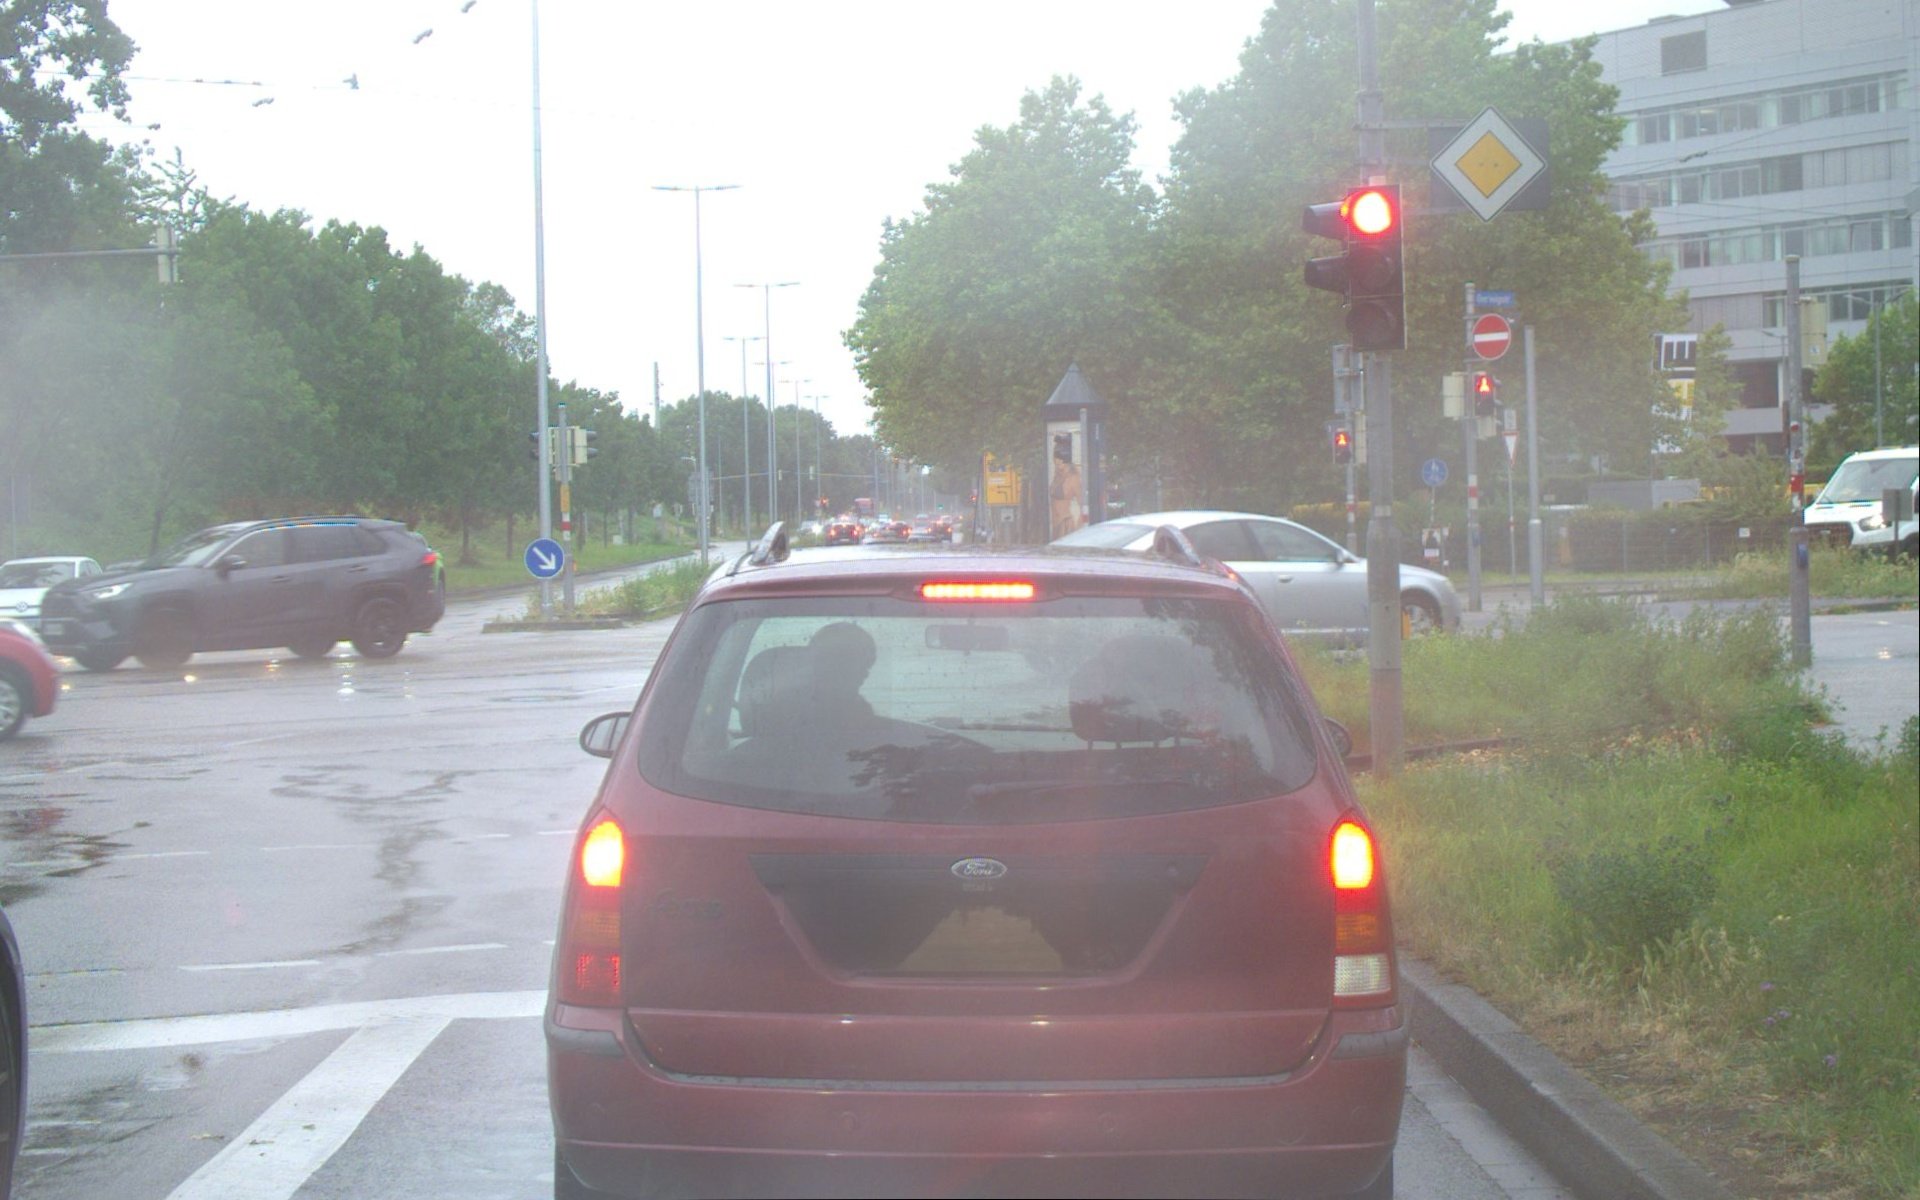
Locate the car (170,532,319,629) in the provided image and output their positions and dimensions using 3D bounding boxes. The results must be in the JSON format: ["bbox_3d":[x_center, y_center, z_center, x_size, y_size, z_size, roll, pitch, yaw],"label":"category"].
[{"bbox_3d":[-11.637,-0.343,56.153,1.638,1.468,3.965,-2,1,-1],"label":"car"}]

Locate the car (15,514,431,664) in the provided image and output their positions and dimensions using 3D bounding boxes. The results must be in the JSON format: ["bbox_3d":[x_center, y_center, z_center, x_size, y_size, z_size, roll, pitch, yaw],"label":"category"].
[{"bbox_3d":[-8.336,-0.148,39.051,4.234,1.554,1.746,-2,1,-37],"label":"car"}]

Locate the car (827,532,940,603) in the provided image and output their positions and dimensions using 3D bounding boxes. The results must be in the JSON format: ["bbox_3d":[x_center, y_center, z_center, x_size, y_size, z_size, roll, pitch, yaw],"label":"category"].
[{"bbox_3d":[-2.019,-0.841,89.637,1.993,1.784,4.001,1,1,-16],"label":"car"}]

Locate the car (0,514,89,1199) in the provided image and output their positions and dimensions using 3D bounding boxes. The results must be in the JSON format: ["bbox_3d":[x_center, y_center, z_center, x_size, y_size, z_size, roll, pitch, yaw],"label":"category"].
[{"bbox_3d":[-2.689,0.647,4.918,1.769,1.568,4.822,1,1,-2],"label":"car"}]

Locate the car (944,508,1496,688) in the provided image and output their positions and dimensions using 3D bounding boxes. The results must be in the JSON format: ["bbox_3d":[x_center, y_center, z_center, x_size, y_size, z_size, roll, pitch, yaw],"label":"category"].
[{"bbox_3d":[2.426,-0.051,31.606,4.814,1.485,1.927,-2,1,-32],"label":"car"}]

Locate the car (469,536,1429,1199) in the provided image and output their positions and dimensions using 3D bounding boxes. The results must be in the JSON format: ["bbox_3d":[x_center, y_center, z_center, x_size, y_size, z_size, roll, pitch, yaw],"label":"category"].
[{"bbox_3d":[-0.071,0.605,7.809,1.642,1.460,3.733,1,1,-2],"label":"car"}]

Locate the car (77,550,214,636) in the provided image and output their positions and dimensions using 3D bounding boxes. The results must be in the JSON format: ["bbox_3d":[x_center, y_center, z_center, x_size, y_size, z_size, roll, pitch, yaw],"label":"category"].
[{"bbox_3d":[-14.514,-0.150,61.439,1.590,1.399,3.823,-2,1,-2],"label":"car"}]

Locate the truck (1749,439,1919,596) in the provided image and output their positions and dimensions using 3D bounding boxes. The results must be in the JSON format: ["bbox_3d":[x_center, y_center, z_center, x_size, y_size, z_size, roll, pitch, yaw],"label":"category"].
[{"bbox_3d":[15.781,-1.340,54.535,6.847,2.357,2.482,-2,1,-37],"label":"truck"}]

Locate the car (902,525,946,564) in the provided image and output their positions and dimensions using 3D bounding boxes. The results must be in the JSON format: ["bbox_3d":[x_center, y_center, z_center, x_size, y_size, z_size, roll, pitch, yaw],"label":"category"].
[{"bbox_3d":[-1.435,-2.254,138.741,1.671,1.522,3.846,-1,1,1],"label":"car"}]

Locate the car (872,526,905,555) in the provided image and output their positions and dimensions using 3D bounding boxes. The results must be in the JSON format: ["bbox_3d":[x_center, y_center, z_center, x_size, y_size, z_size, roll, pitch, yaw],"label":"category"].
[{"bbox_3d":[-3.962,-3.329,191.845,1.698,1.522,3.846,-1,1,1],"label":"car"}]

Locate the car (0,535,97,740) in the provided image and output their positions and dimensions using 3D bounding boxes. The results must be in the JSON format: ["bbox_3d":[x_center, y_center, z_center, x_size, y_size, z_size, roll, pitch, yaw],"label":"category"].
[{"bbox_3d":[-8.436,0.281,25.140,3.804,1.485,1.678,-1,1,-30],"label":"car"}]

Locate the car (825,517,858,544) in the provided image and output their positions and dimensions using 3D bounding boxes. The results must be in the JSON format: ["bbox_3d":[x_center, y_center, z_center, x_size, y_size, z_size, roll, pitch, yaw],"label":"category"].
[{"bbox_3d":[-6.930,-4.074,201.831,1.698,1.522,3.846,-1,1,1],"label":"car"}]

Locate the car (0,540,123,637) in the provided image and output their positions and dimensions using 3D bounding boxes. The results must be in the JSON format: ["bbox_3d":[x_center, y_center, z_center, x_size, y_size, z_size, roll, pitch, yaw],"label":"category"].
[{"bbox_3d":[-14.636,-0.199,55.110,1.638,1.447,3.788,-2,1,-3],"label":"car"}]
